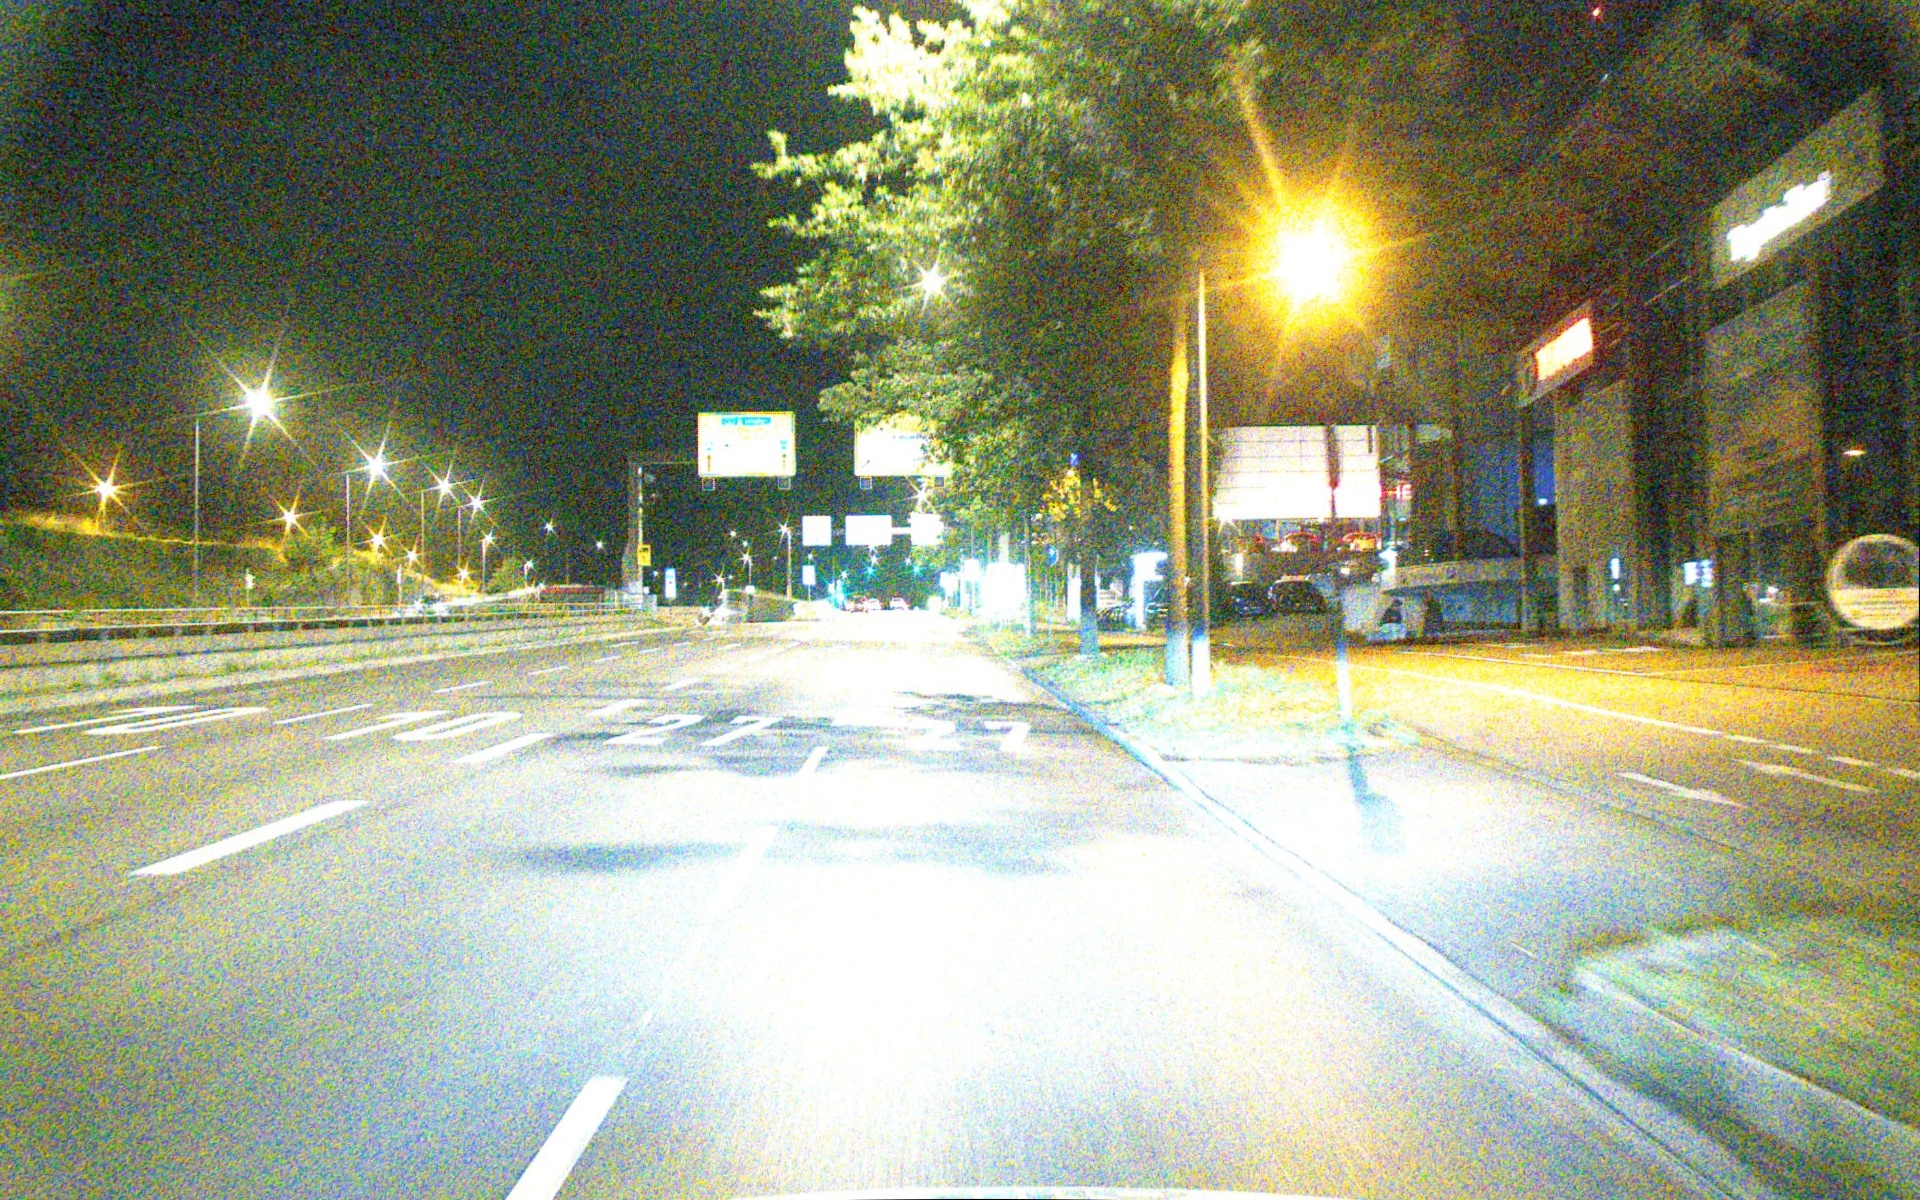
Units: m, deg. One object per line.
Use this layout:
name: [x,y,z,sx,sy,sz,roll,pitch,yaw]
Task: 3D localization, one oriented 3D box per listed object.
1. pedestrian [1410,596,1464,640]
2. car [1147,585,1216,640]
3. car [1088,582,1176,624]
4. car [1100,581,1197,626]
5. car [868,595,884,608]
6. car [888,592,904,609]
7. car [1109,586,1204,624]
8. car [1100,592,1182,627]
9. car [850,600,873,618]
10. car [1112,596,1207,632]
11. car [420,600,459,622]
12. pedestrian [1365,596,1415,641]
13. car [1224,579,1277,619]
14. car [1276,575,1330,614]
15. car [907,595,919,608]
pedestrian: [11.389,0.443,39.498,0.982,1.025,0.768,1,-2,-17]
car: [8.285,0.491,61.596,1.951,1.979,4.002,0,-1,16]
car: [8.253,0.157,79.543,3.909,1.889,1.820,1,-1,-5]
car: [8.245,0.179,72.528,3.909,1.889,1.820,1,-1,-5]
car: [-11.455,0.173,225.261,1.953,1.624,3.999,-1,-1,-1]
car: [-8.067,0.048,209.483,1.953,2.049,3.998,1,-1,-2]
car: [7.963,0.219,67.131,3.553,1.477,1.705,1,-1,-5]
car: [8.163,0.450,74.869,3.442,1.535,1.734,1,-1,-5]
car: [-9.612,0.889,162.294,1.927,1.741,4.000,1,-1,1]
car: [8.366,0.590,69.512,3.749,1.435,1.709,1,-1,-4]
car: [-37.567,0.776,119.453,1.592,1.507,3.678,1,-1,0]
pedestrian: [10.270,0.446,39.476,0.897,1.056,0.767,-2,-1,42]
car: [11.986,-0.018,68.420,1.852,1.538,3.638,1,-1,6]
car: [14.505,-0.197,70.059,1.852,1.538,3.638,1,-1,6]
car: [-7.265,0.251,256.532,1.801,1.870,3.998,1,-1,-2]
